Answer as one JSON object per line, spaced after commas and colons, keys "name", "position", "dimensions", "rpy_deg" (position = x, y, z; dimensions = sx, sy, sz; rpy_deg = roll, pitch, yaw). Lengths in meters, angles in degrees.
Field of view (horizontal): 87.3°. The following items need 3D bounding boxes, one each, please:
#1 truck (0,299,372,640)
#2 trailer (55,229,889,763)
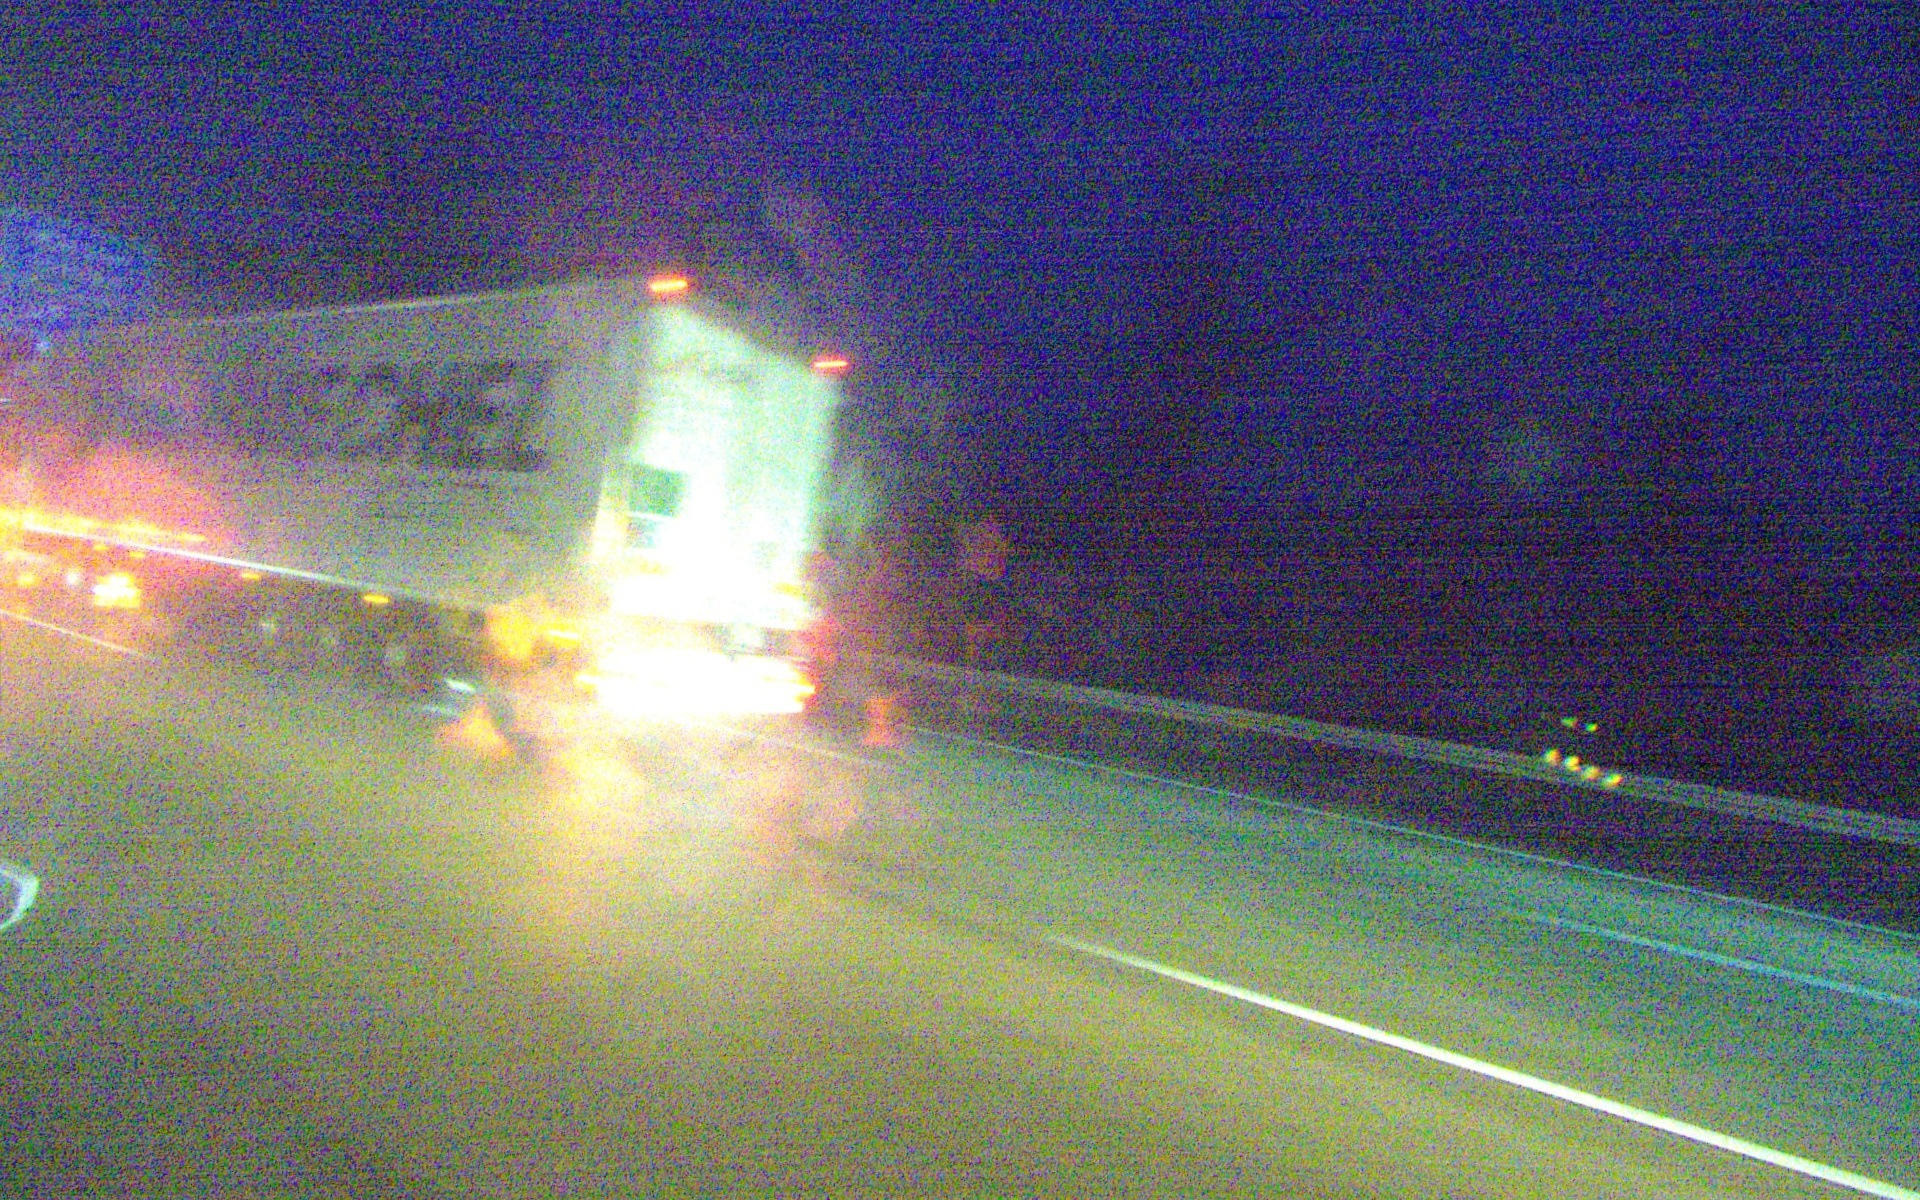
{"name": "truck", "position": [-13.176, -2.021, 16.257], "dimensions": [7.324, 4.317, 2.809], "rpy_deg": [7, -1, 31]}
{"name": "trailer", "position": [-6.743, -1.277, 12.278], "dimensions": [11.895, 4.262, 2.808], "rpy_deg": [7, -1, 31]}
